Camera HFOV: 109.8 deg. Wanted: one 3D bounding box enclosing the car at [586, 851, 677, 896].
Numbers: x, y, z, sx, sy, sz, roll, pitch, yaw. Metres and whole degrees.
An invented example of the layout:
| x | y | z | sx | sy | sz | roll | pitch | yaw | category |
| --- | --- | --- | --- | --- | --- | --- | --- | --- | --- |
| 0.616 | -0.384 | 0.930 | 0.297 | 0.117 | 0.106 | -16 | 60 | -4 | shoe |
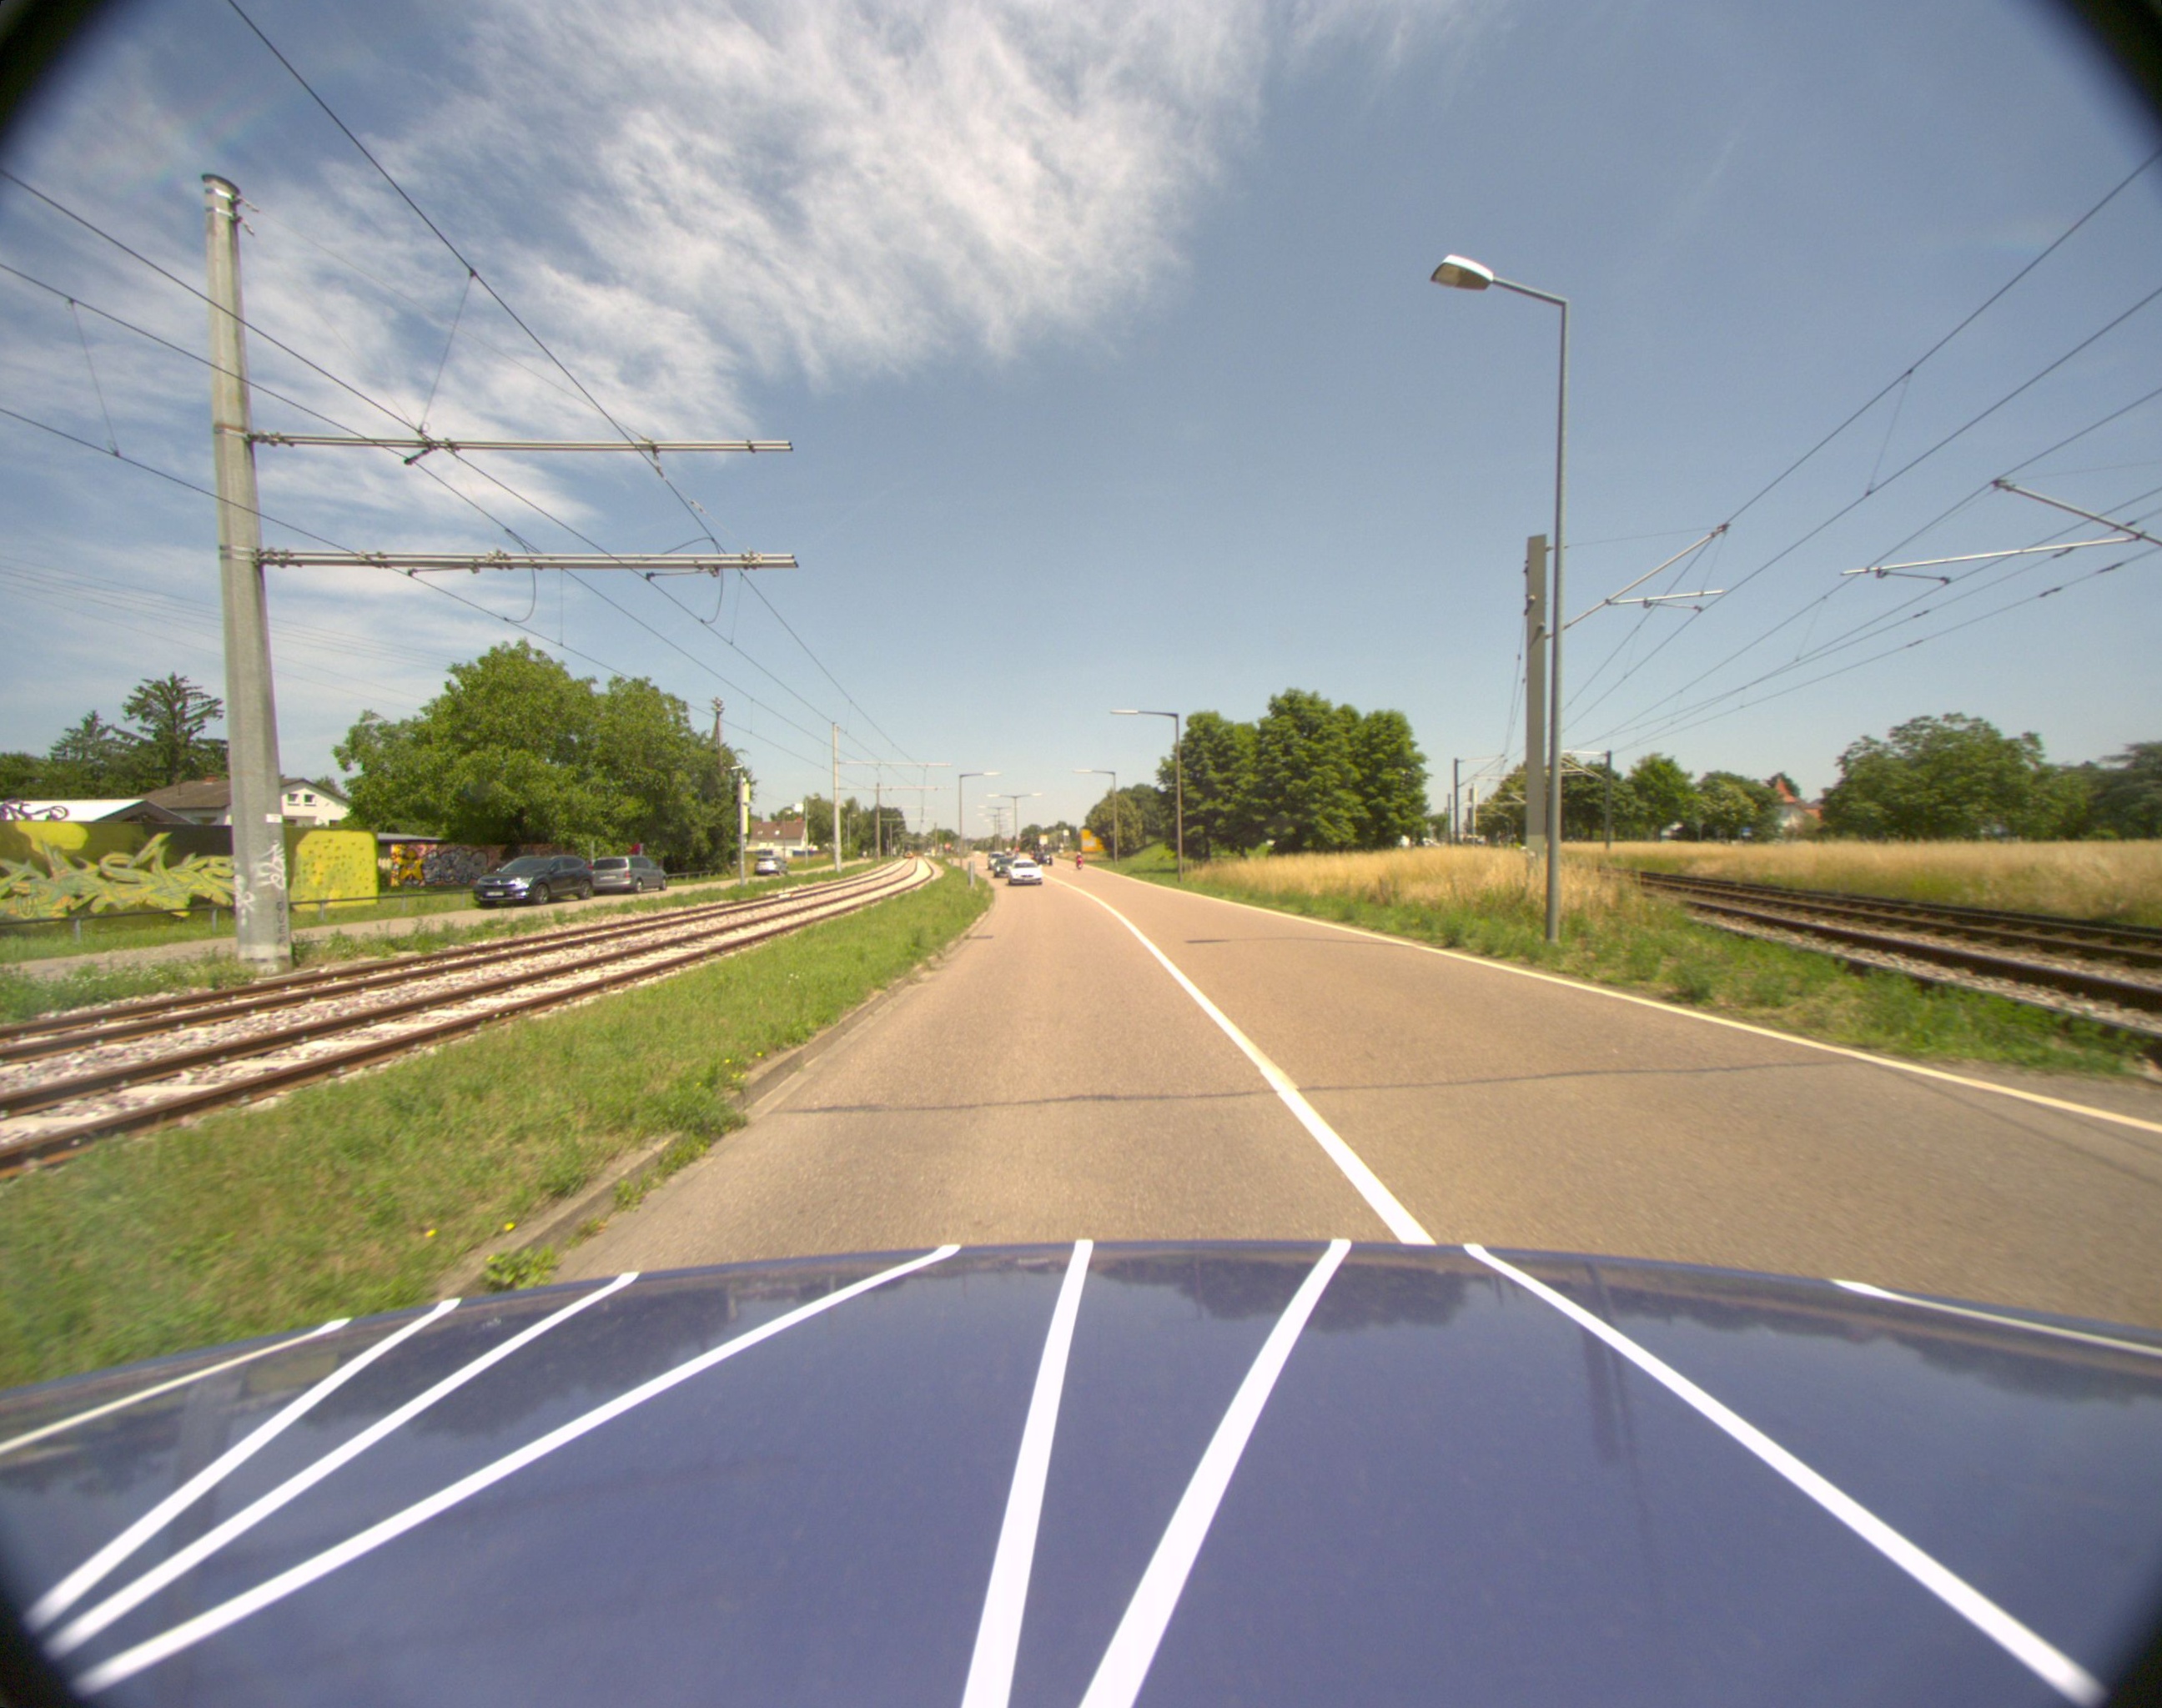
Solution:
| x | y | z | sx | sy | sz | roll | pitch | yaw | category |
| --- | --- | --- | --- | --- | --- | --- | --- | --- | --- |
| -19.197 | 0.773 | 32.689 | 1.682 | 1.615 | 4.706 | -1 | 2 | -9 | car |

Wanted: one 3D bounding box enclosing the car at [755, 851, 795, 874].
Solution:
| x | y | z | sx | sy | sz | roll | pitch | yaw | category |
| --- | --- | --- | --- | --- | --- | --- | --- | --- | --- |
| -22.367 | 0.597 | 55.681 | 1.686 | 1.406 | 4.545 | -1 | 2 | -8 | car |

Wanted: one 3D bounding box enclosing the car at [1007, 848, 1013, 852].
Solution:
| x | y | z | sx | sy | sz | roll | pitch | yaw | category |
| --- | --- | --- | --- | --- | --- | --- | --- | --- | --- |
| -22.480 | -1.243 | 241.720 | 1.620 | 1.387 | 3.596 | -1 | 2 | -10 | car |

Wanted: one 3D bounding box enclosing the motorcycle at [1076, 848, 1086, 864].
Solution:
| x | y | z | sx | sy | sz | roll | pitch | yaw | category |
| --- | --- | --- | --- | --- | --- | --- | --- | --- | --- |
| -0.005 | 0.203 | 72.774 | 0.706 | 1.577 | 2.146 | -1 | -1 | -6 | motorcycle |

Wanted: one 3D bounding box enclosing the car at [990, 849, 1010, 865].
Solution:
| x | y | z | sx | sy | sz | roll | pitch | yaw | category |
| --- | --- | --- | --- | --- | --- | --- | --- | --- | --- |
| -8.650 | 0.300 | 80.818 | 1.811 | 1.466 | 3.507 | -1 | 2 | -10 | car |

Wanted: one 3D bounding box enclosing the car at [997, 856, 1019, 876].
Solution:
| x | y | z | sx | sy | sz | roll | pitch | yaw | category |
| --- | --- | --- | --- | --- | --- | --- | --- | --- | --- |
| -5.766 | 0.913 | 59.584 | 1.511 | 1.423 | 3.354 | -1 | 2 | -9 | car |

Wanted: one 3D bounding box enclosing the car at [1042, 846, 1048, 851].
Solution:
| x | y | z | sx | sy | sz | roll | pitch | yaw | category |
| --- | --- | --- | --- | --- | --- | --- | --- | --- | --- |
| -12.088 | -1.944 | 257.133 | 1.654 | 1.577 | 3.815 | -1 | 2 | -8 | car |

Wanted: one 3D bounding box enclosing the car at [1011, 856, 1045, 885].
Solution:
| x | y | z | sx | sy | sz | roll | pitch | yaw | category |
| --- | --- | --- | --- | --- | --- | --- | --- | --- | --- |
| -3.167 | 0.930 | 44.512 | 1.772 | 1.434 | 4.125 | -1 | 2 | -7 | car |

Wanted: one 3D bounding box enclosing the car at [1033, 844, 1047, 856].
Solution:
| x | y | z | sx | sy | sz | roll | pitch | yaw | category |
| --- | --- | --- | --- | --- | --- | --- | --- | --- | --- |
| -5.809 | -0.557 | 107.557 | 1.827 | 1.563 | 4.109 | -1 | 2 | -5 | car |

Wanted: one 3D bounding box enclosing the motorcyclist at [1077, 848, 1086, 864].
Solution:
| x | y | z | sx | sy | sz | roll | pitch | yaw | category |
| --- | --- | --- | --- | --- | --- | --- | --- | --- | --- |
| 0.045 | 0.201 | 72.965 | 0.690 | 1.576 | 0.669 | -1 | -1 | -6 | motorcyclist |

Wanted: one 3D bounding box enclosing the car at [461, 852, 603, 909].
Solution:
| x | y | z | sx | sy | sz | roll | pitch | yaw | category |
| --- | --- | --- | --- | --- | --- | --- | --- | --- | --- |
| -18.907 | 0.834 | 26.492 | 1.833 | 1.647 | 4.811 | -1 | 2 | -6 | car |

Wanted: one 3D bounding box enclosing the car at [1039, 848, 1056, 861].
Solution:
| x | y | z | sx | sy | sz | roll | pitch | yaw | category |
| --- | --- | --- | --- | --- | --- | --- | --- | --- | --- |
| -4.123 | 0.039 | 92.974 | 1.832 | 1.592 | 4.481 | -1 | 0 | -6 | car |

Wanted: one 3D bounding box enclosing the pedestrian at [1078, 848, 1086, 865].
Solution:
| x | y | z | sx | sy | sz | roll | pitch | yaw | category |
| --- | --- | --- | --- | --- | --- | --- | --- | --- | --- |
| 0.072 | 0.242 | 72.238 | 0.644 | 1.527 | 0.577 | -1 | 0 | -6 | pedestrian |
